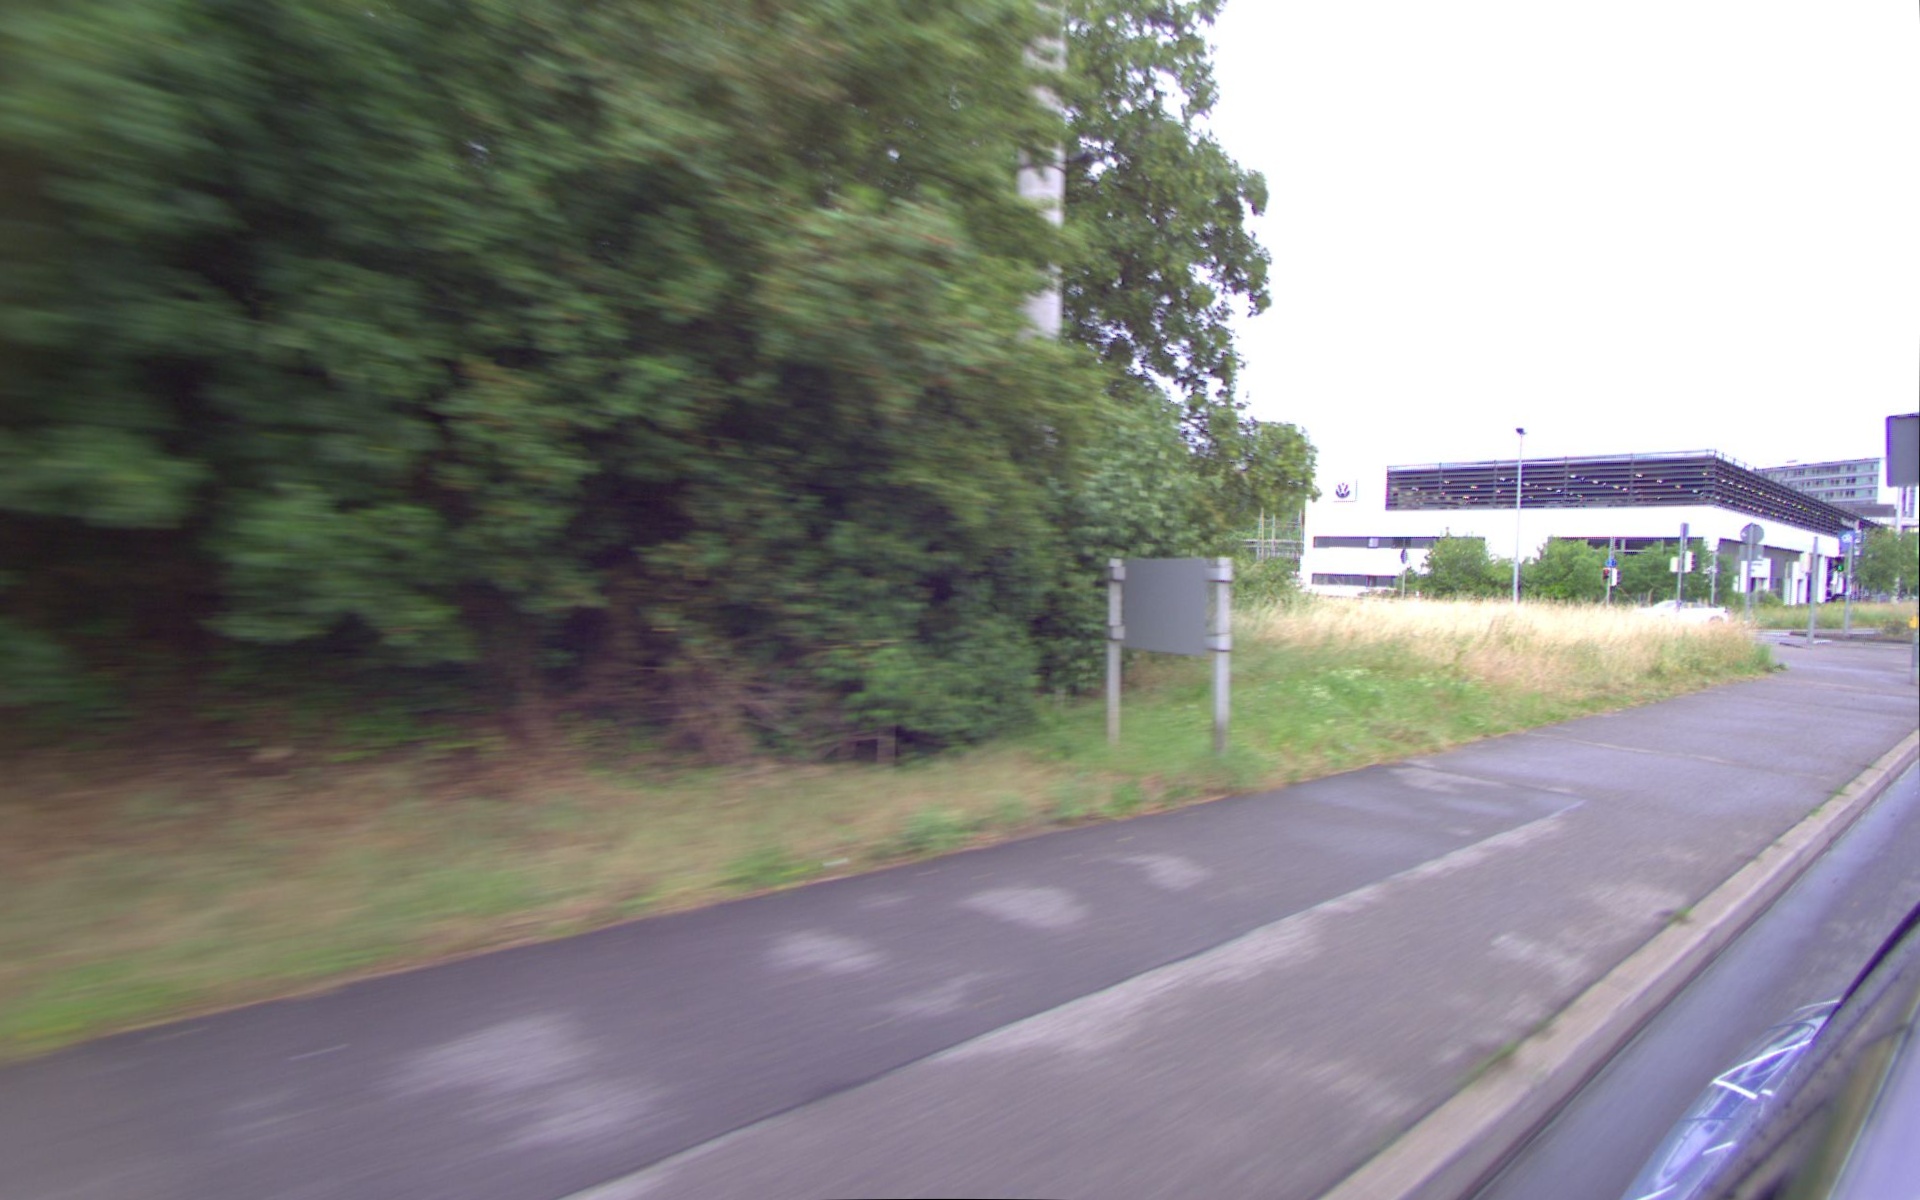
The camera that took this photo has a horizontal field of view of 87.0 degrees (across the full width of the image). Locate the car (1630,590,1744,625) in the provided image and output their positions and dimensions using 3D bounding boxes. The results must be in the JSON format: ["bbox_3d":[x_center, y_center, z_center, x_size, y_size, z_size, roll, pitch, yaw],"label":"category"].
[{"bbox_3d":[35.693,0.339,49.765,4.035,1.559,2.040,1,2,3],"label":"car"}]
